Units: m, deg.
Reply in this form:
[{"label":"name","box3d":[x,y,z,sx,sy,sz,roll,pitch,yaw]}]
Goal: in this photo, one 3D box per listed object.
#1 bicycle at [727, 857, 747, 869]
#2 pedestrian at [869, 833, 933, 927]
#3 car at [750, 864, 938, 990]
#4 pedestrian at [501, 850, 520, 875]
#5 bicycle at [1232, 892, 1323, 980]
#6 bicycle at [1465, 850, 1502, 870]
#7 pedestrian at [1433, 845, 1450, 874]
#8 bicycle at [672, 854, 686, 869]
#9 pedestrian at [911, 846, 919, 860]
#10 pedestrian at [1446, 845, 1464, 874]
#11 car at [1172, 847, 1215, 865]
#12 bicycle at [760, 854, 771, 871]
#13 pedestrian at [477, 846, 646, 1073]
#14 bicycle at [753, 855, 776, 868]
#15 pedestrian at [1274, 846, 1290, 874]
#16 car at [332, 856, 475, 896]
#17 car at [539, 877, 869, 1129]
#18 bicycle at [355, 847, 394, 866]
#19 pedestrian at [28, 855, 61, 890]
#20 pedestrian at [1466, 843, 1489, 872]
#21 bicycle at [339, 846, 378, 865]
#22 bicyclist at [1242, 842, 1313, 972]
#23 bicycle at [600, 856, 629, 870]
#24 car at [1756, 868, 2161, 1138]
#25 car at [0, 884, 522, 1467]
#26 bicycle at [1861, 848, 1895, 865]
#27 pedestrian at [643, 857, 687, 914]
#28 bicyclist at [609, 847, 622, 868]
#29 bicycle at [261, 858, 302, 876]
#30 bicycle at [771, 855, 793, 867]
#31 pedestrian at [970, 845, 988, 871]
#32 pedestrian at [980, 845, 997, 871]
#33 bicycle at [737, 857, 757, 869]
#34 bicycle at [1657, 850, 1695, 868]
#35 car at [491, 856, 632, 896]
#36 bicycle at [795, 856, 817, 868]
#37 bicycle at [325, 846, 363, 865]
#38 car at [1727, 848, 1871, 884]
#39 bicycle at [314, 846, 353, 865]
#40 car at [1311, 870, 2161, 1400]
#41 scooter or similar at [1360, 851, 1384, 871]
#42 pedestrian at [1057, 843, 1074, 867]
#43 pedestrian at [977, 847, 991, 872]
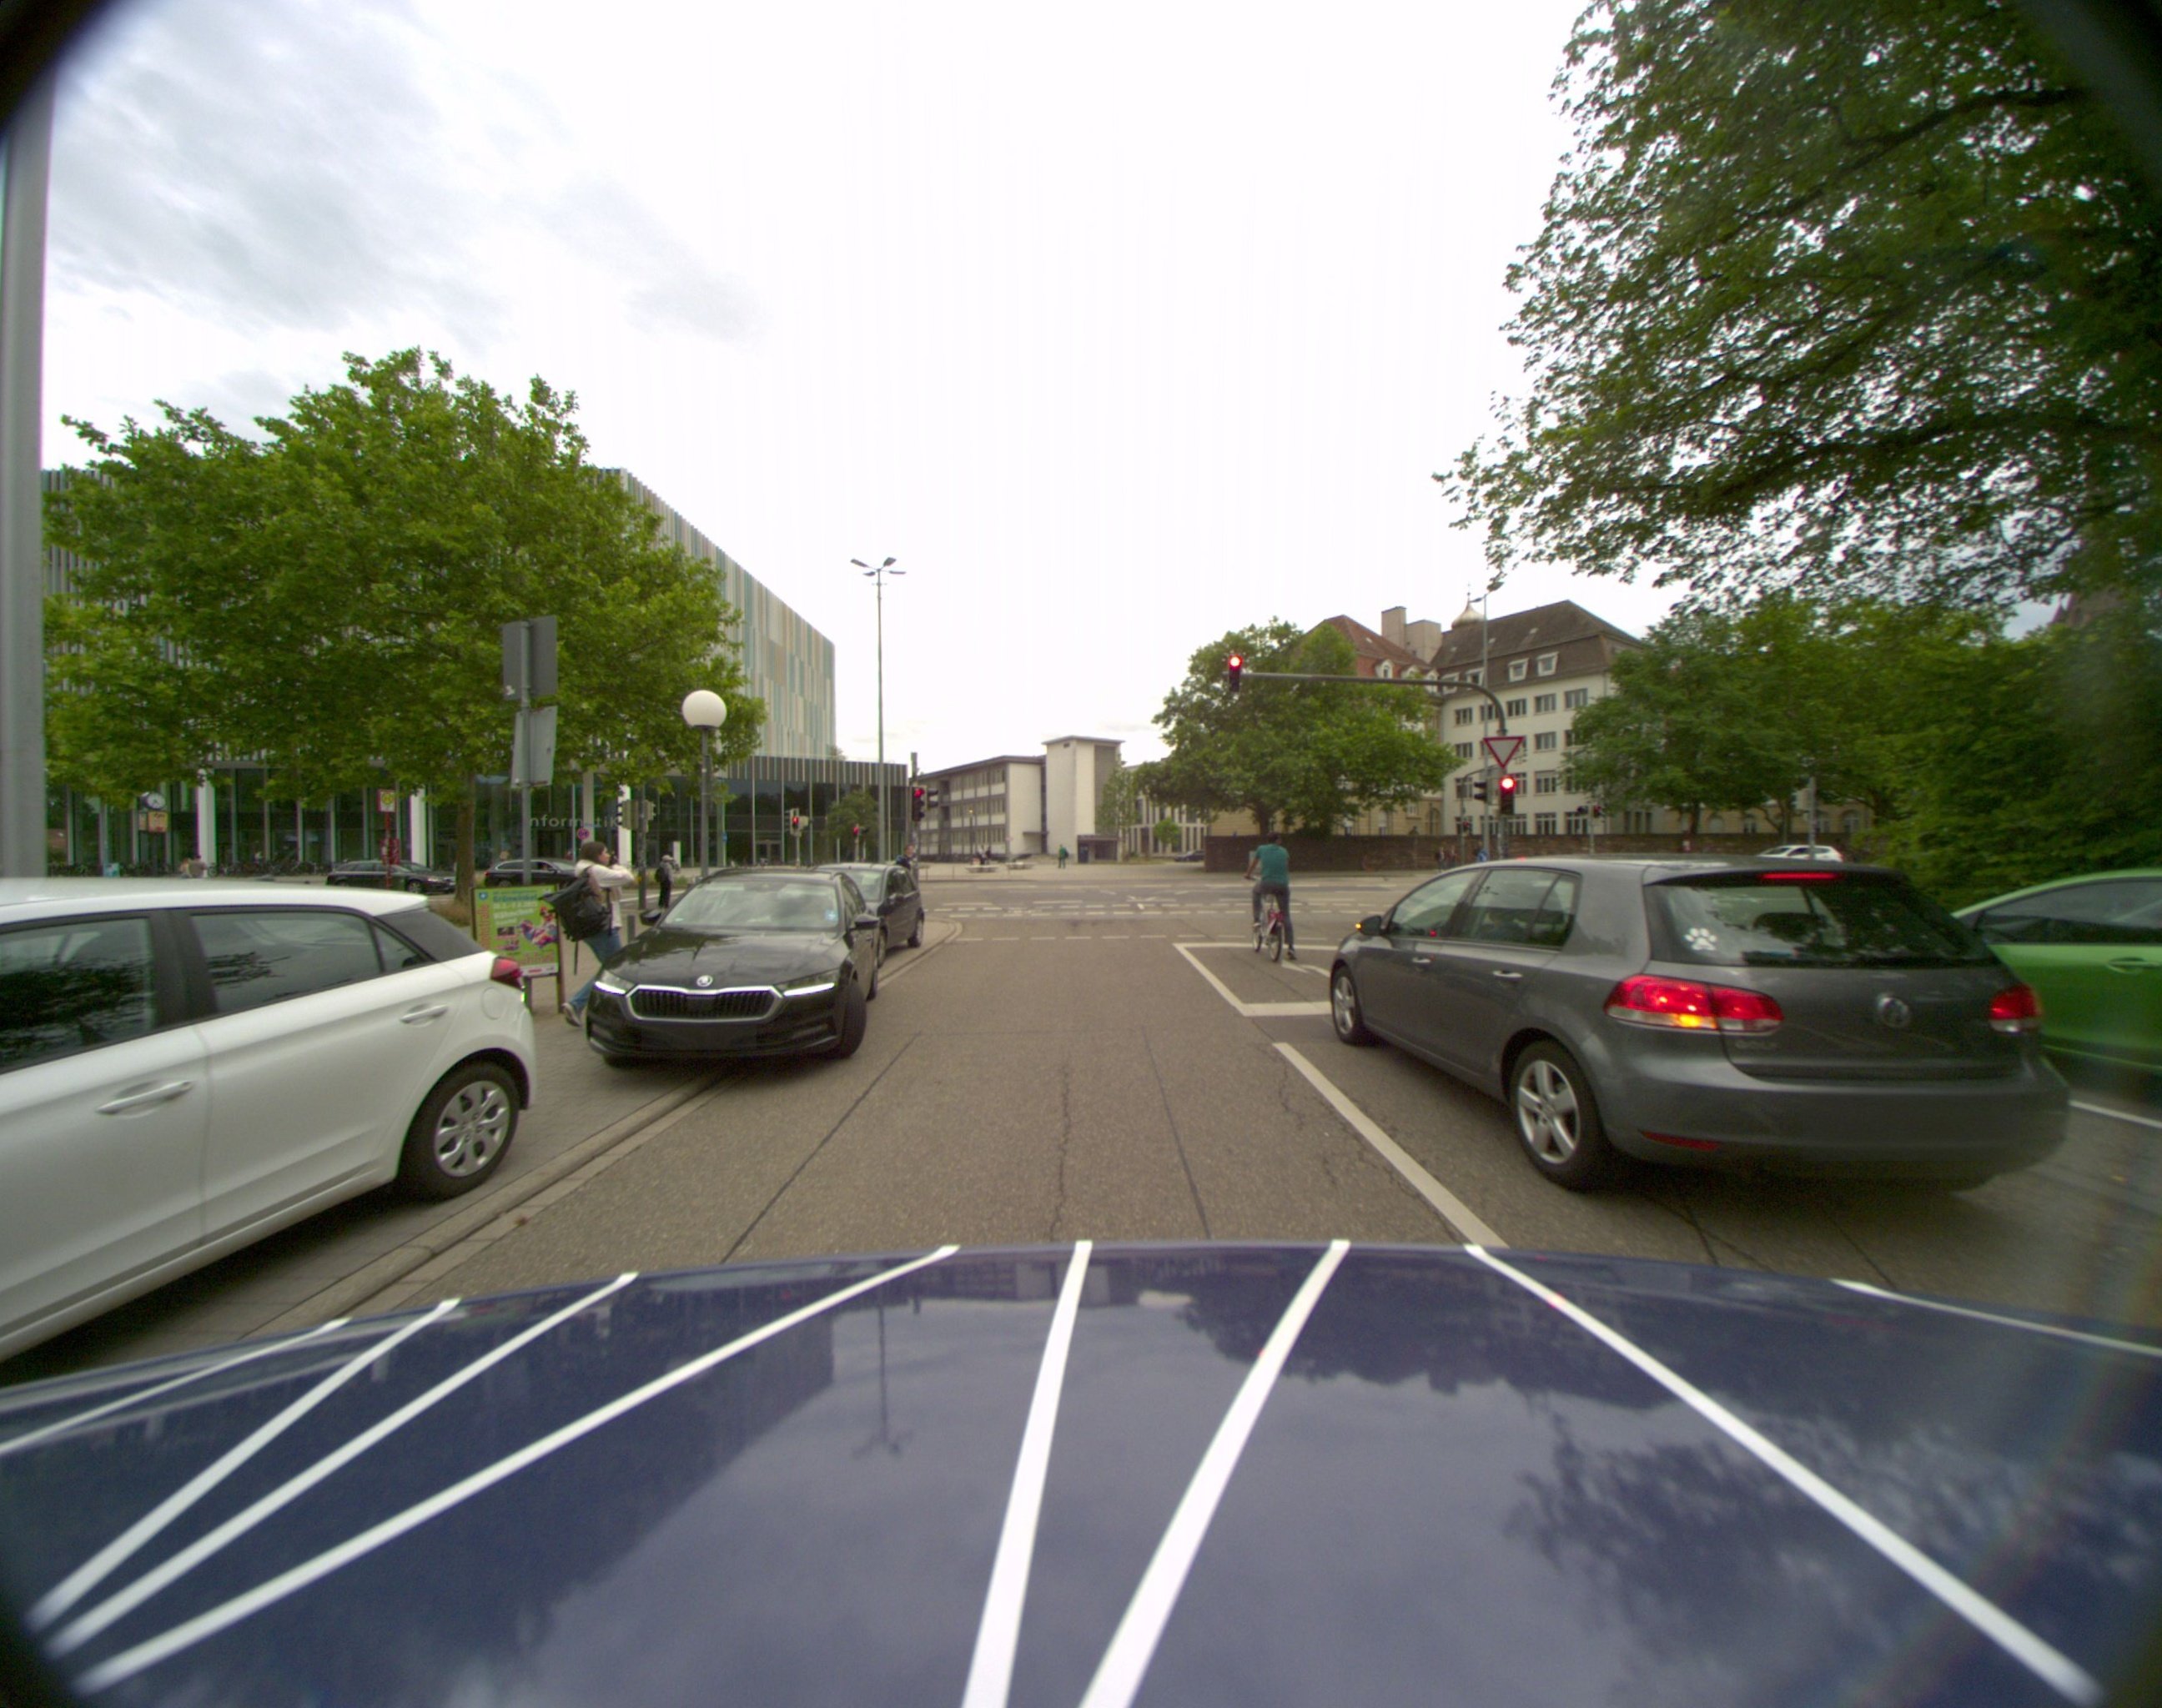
[{"label":"bicycle","box3d":[-25.780,0.677,56.951,2.004,0.930,0.485,0,1,40]},{"label":"pedestrian","box3d":[-3.963,0.586,16.766,0.791,1.940,0.760,8,-1,26]},{"label":"car","box3d":[-3.502,0.992,12.037,1.626,1.493,4.105,2,1,1]},{"label":"pedestrian","box3d":[-42.239,0.618,56.221,0.762,1.778,0.802,0,1,1]},{"label":"bicycle","box3d":[2.720,1.101,10.727,0.659,1.031,1.856,0,1,-5]},{"label":"bicycle","box3d":[25.588,0.379,48.334,2.156,1.178,0.582,0,3,-8]},{"label":"pedestrian","box3d":[21.612,0.314,45.546,0.670,1.729,0.735,0,2,-3]},{"label":"bicycle","box3d":[-29.009,0.518,54.803,0.485,1.039,1.911,-1,2,-39]},{"label":"pedestrian","box3d":[-20.845,-0.173,95.490,0.777,1.779,0.760,-1,1,-28]},{"label":"pedestrian","box3d":[22.358,0.325,45.439,0.642,1.684,0.779,0,2,1]},{"label":"car","box3d":[12.696,0.251,85.590,4.410,1.570,1.998,-2,-9,-34]},{"label":"bicycle","box3d":[-21.225,0.571,51.089,0.484,1.039,1.779,-1,2,-28]},{"label":"pedestrian","box3d":[-4.362,0.828,6.435,0.792,1.777,0.822,0,1,12]},{"label":"bicycle","box3d":[-24.128,0.544,57.912,2.004,0.931,0.485,1,2,32]},{"label":"pedestrian","box3d":[12.333,0.378,46.592,0.808,1.655,0.791,-1,0,2]},{"label":"car","box3d":[-27.733,0.878,31.217,3.997,1.445,1.999,-1,2,-1]},{"label":"car","box3d":[-2.968,1.006,7.034,1.868,1.393,4.472,2,0,-15]},{"label":"bicycle","box3d":[-49.441,0.156,53.170,0.628,1.251,2.106,-2,-2,5]},{"label":"pedestrian","box3d":[-53.869,0.939,39.493,0.588,1.799,0.809,0,1,4]},{"label":"pedestrian","box3d":[24.250,0.204,46.492,1.006,1.779,0.757,0,2,-1]},{"label":"bicycle","box3d":[-50.520,0.107,53.172,0.628,1.251,2.106,-2,-2,5]},{"label":"bicyclist","box3d":[2.796,0.721,10.903,0.659,1.769,0.983,0,1,-7]},{"label":"bicycle","box3d":[-33.317,0.624,54.271,0.483,0.920,1.919,0,1,18]},{"label":"car","box3d":[7.086,0.884,4.872,1.802,1.461,4.248,0,1,2]},{"label":"car","box3d":[-3.766,0.890,1.898,1.865,1.444,3.858,0,0,0]},{"label":"bicycle","box3d":[55.274,0.176,52.710,2.249,1.142,0.507,0,3,-13]},{"label":"pedestrian","box3d":[-12.095,0.909,22.124,0.756,1.617,0.794,0,1,14]},{"label":"bicyclist","box3d":[-33.296,0.254,54.309,0.483,1.460,0.606,0,1,17]},{"label":"bicycle","box3d":[-55.340,0.883,52.623,0.628,1.251,2.104,0,1,-2]},{"label":"bicycle","box3d":[-23.180,0.552,58.874,2.004,0.931,0.485,1,2,32]},{"label":"pedestrian","box3d":[-7.010,0.265,52.126,0.848,1.778,0.892,-1,1,-42]},{"label":"pedestrian","box3d":[-6.392,0.249,52.512,0.848,1.778,0.892,-1,1,-43]},{"label":"bicycle","box3d":[-25.255,0.681,57.476,2.004,0.930,0.550,0,1,40]},{"label":"bicycle","box3d":[39.008,0.307,49.820,2.156,1.142,0.664,0,3,-10]},{"label":"car","box3d":[-20.980,0.850,30.841,4.289,1.481,1.999,-1,1,-1]},{"label":"bicycle","box3d":[-21.899,0.650,60.567,2.004,0.931,0.485,1,2,32]},{"label":"bicycle","box3d":[-51.476,0.129,53.080,0.628,1.251,2.105,-1,-2,-2]},{"label":"car","box3d":[37.457,0.625,39.742,5.368,1.687,2.049,-2,-2,4]},{"label":"bicycle","box3d":[-52.140,0.144,53.022,0.628,1.251,2.105,-1,-2,-2]},{"label":"car","box3d":[2.863,0.897,4.386,1.787,1.488,4.167,0,1,0]},{"label":"scooter or similar","box3d":[18.395,0.430,48.033,1.410,1.223,0.496,1,3,19]},{"label":"pedestrian","box3d":[-1.123,0.061,55.464,0.907,1.705,0.949,-1,1,-23]},{"label":"pedestrian","box3d":[-6.444,0.352,50.365,0.623,1.656,0.619,0,1,44]}]
